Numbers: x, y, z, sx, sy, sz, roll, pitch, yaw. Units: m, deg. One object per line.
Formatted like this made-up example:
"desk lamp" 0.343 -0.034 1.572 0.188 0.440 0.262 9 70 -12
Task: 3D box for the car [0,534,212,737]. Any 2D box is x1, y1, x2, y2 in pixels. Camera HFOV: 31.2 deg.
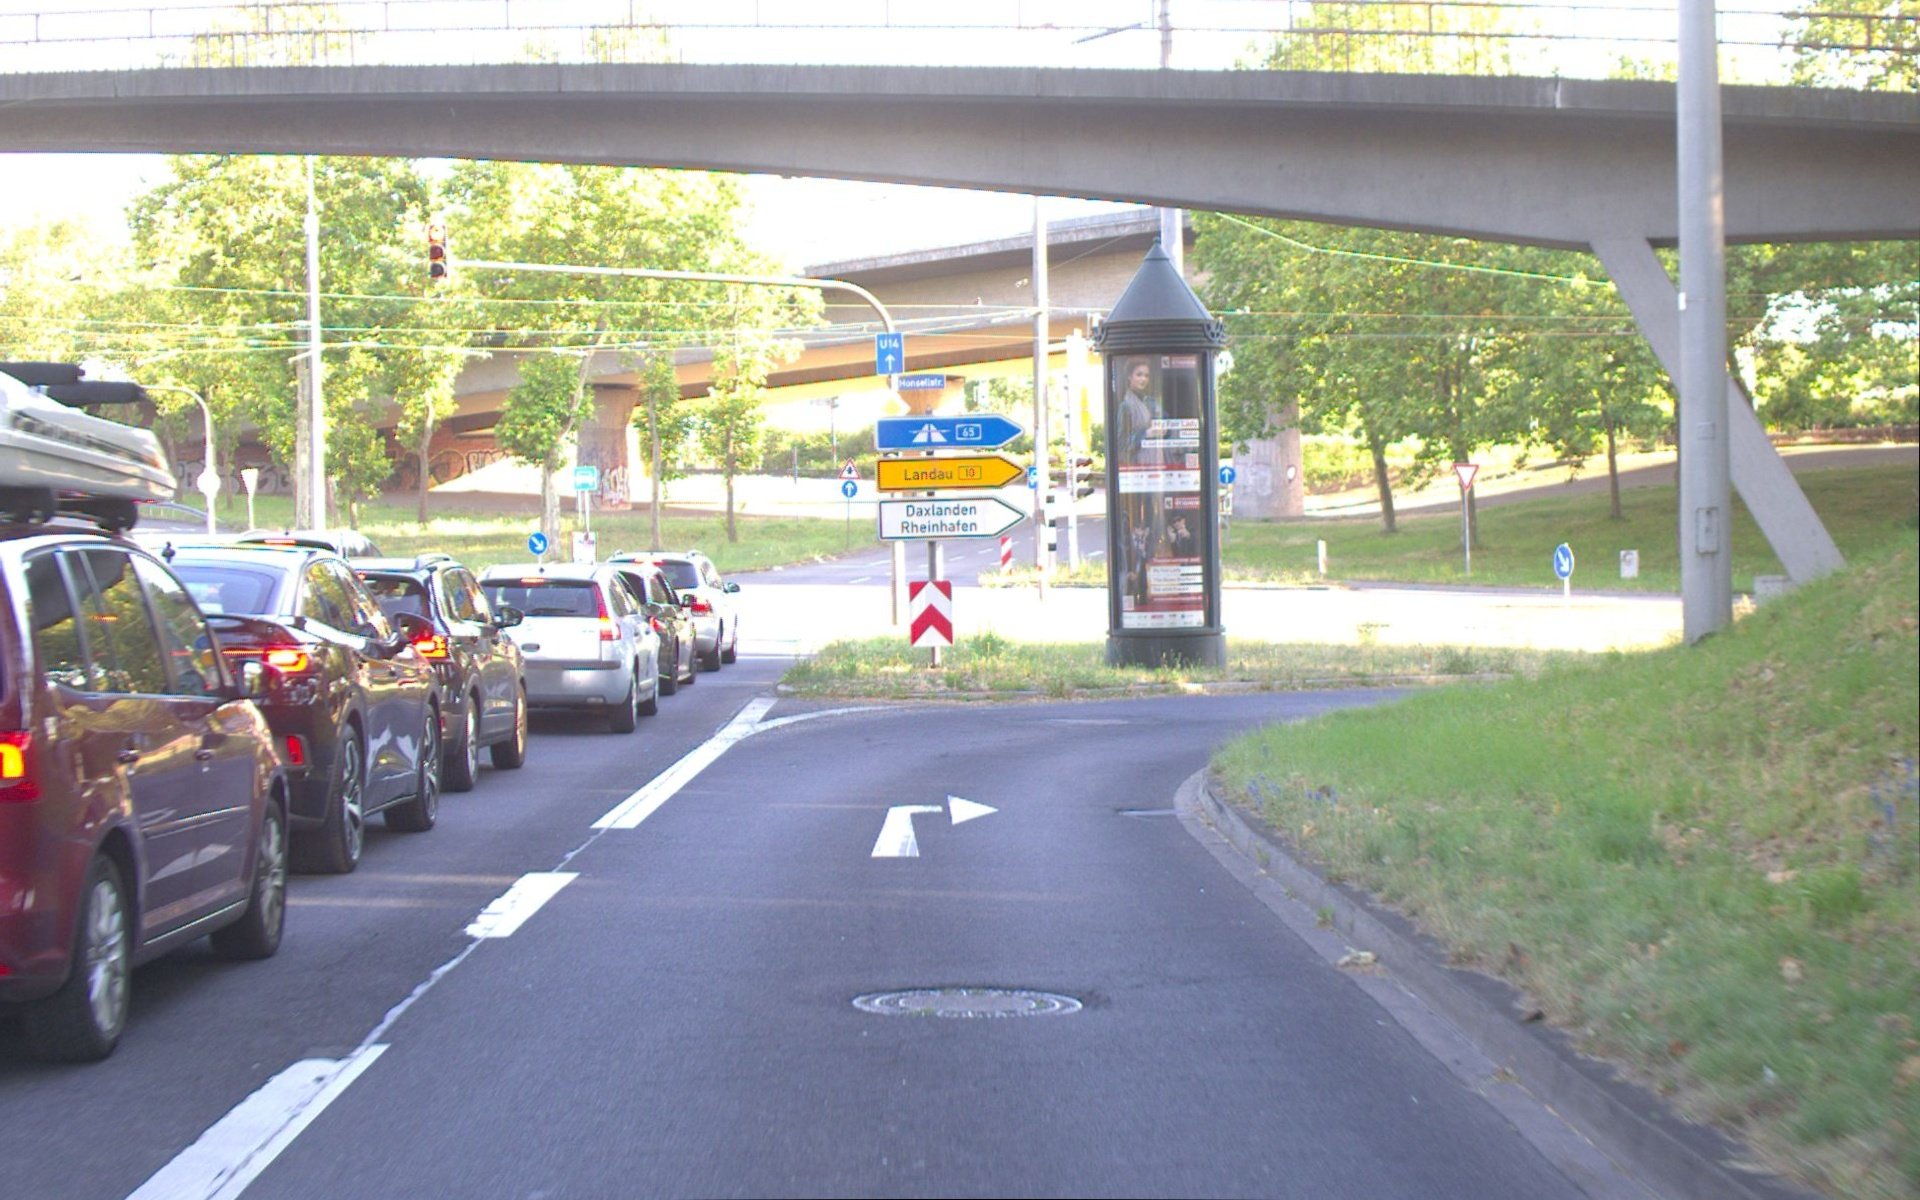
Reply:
"car" -7.611 0.253 29.090 1.662 1.560 4.191 -2 1 -1

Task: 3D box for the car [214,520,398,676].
"car" -8.121 -0.069 43.050 1.792 1.786 4.828 -2 1 -6

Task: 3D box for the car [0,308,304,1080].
"car" -3.431 0.241 11.326 1.792 2.098 4.000 -2 1 -1

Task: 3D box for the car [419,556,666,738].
"car" -3.752 0.378 31.517 1.792 1.476 4.000 -2 1 -1

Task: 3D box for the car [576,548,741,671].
"car" -3.827 0.089 44.229 1.792 1.437 4.000 -2 1 -1

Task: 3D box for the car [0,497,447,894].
"car" -3.829 0.391 17.582 1.792 1.744 4.241 -2 1 -1

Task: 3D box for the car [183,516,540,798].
"car" -4.054 0.320 23.900 1.792 1.744 4.000 -2 1 -1

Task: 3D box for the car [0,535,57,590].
"car" -31.550 -1.261 114.740 1.878 1.766 4.001 1 1 -2

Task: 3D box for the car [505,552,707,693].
"car" -3.841 0.206 37.959 1.792 1.378 4.477 -2 1 -1
